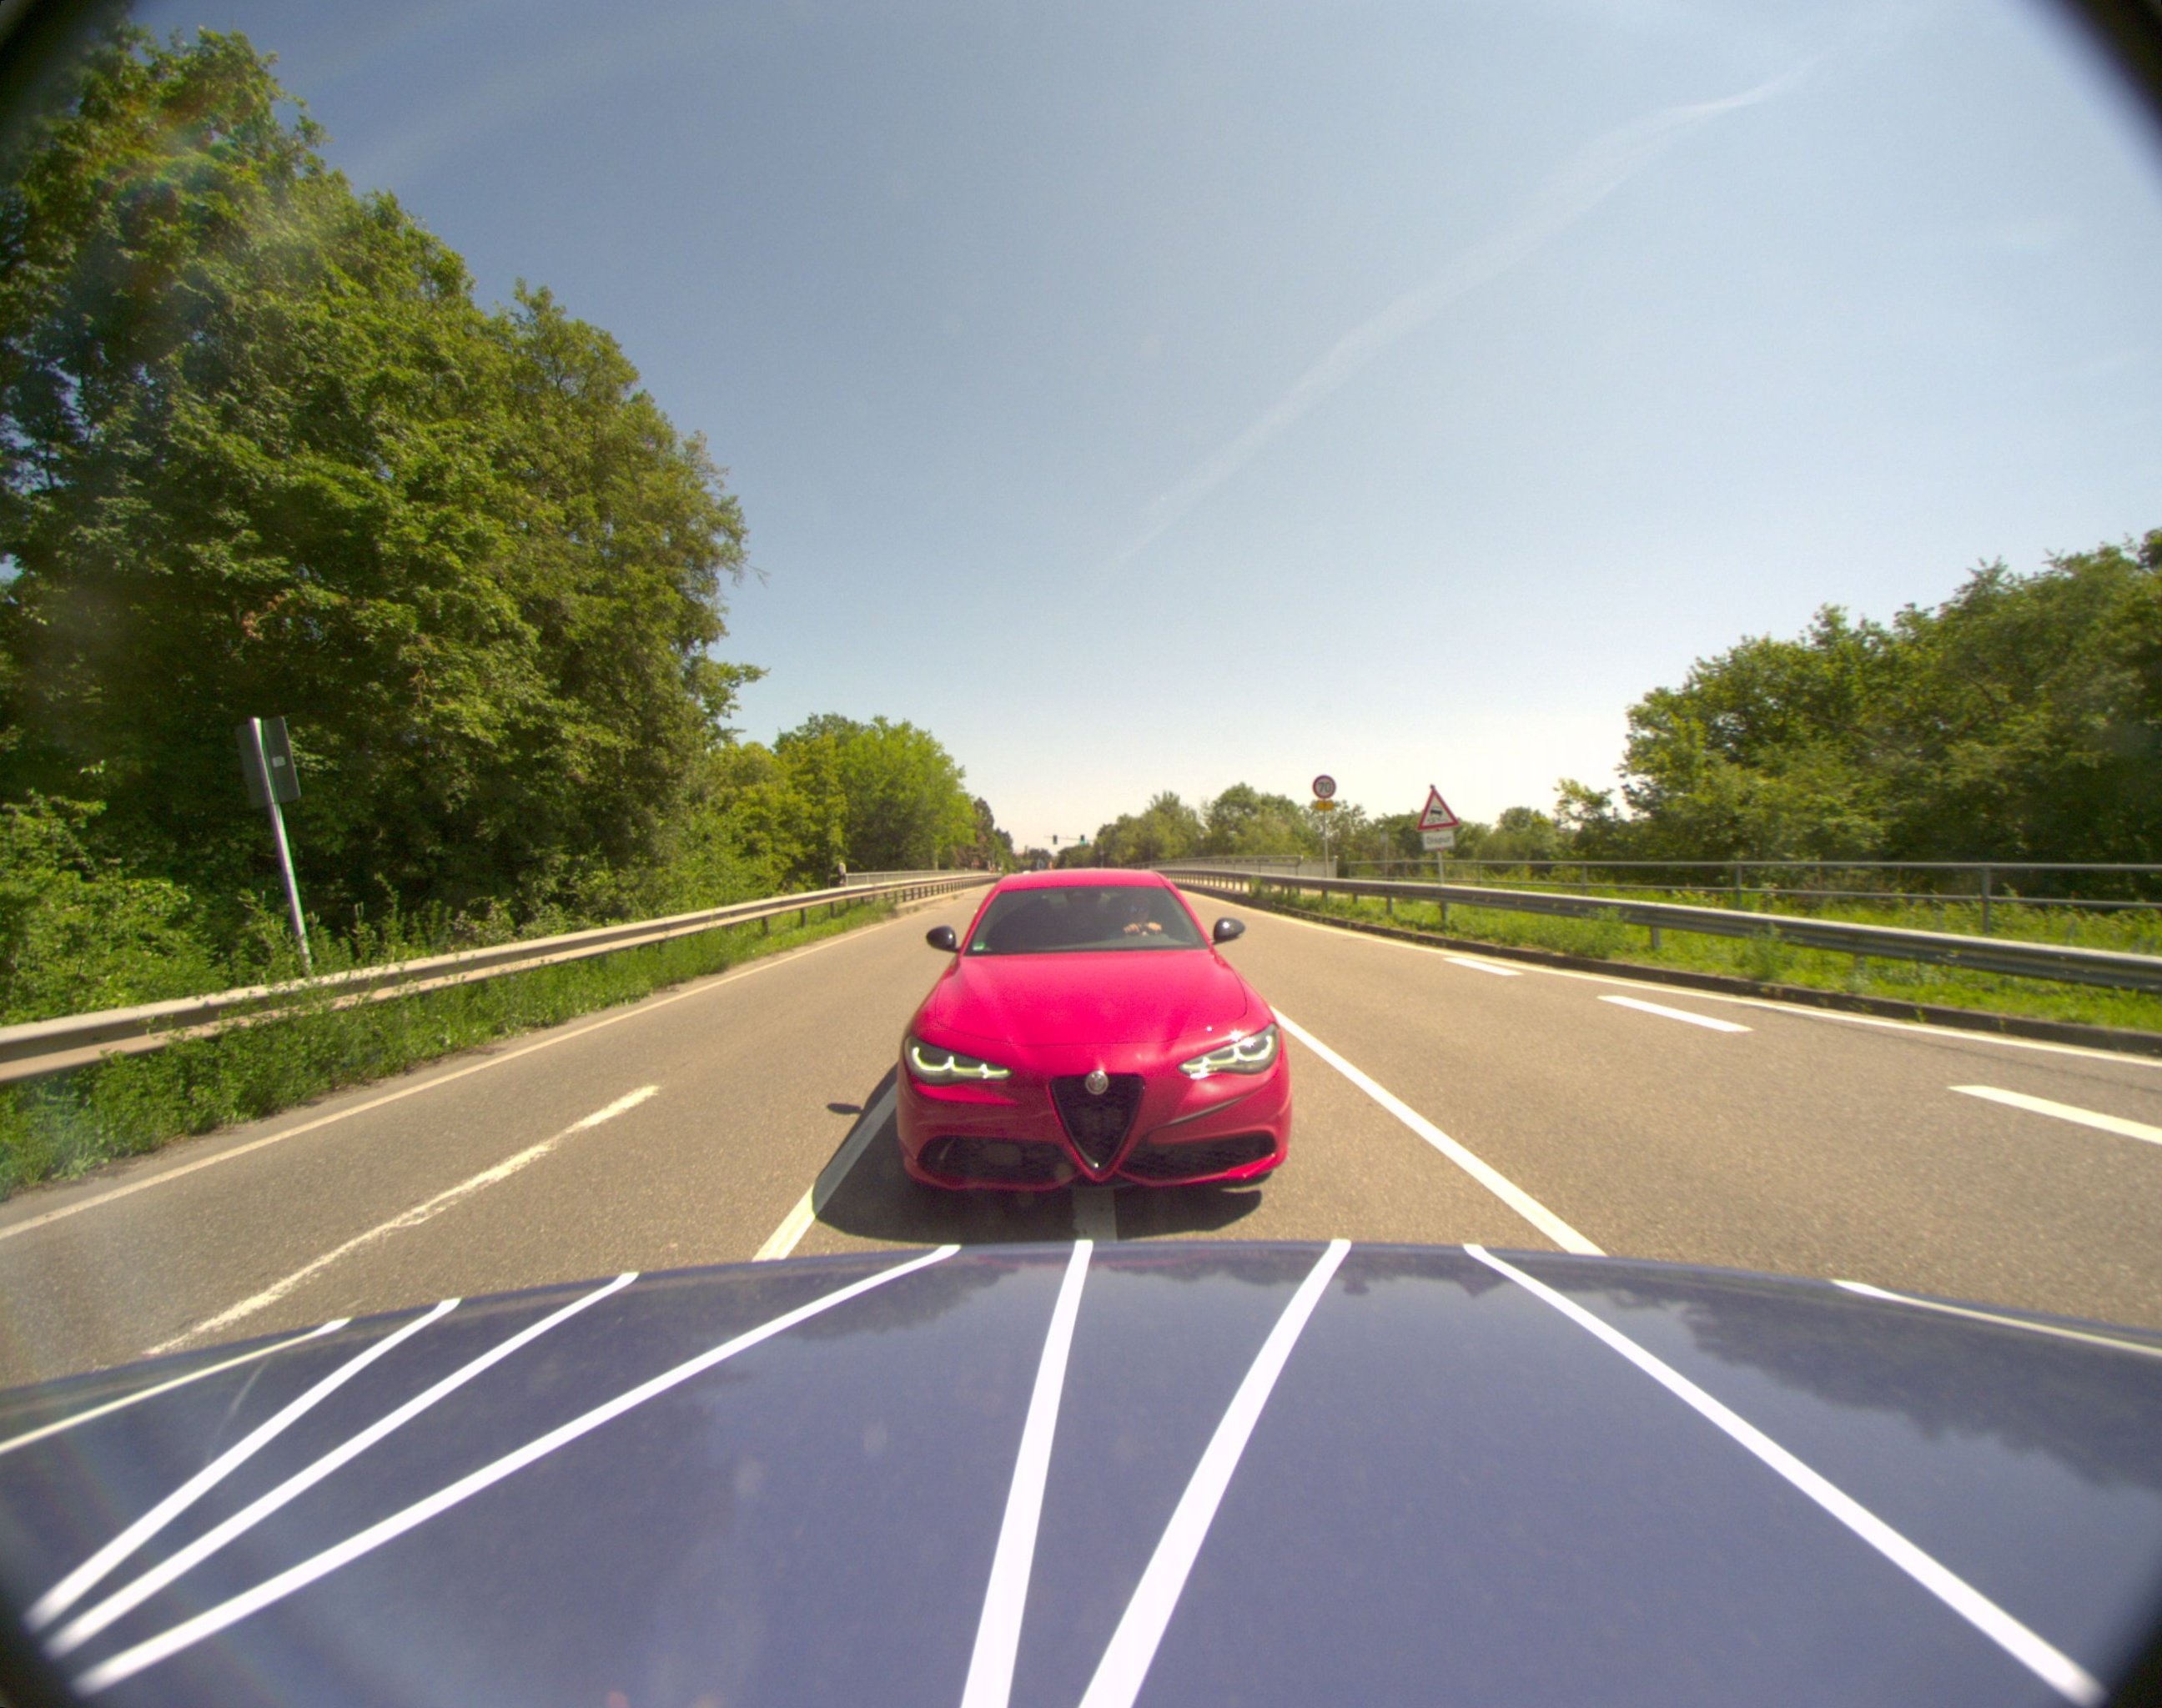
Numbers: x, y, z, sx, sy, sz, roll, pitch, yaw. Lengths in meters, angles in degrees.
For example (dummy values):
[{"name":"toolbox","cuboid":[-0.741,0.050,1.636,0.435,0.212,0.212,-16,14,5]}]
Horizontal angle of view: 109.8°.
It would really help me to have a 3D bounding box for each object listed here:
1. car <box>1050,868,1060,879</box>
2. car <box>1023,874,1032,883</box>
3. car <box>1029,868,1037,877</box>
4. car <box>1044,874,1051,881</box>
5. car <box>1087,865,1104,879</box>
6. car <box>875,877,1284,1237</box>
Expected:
[{"name":"car","cuboid":[-5.807,4.327,171.241,1.996,2.354,5.180,-2,0,-3]},{"name":"car","cuboid":[-9.313,4.319,133.032,1.416,1.499,3.315,-1,0,-3]},{"name":"car","cuboid":[-8.864,3.342,140.735,1.476,1.565,3.487,-1,0,-4]},{"name":"car","cuboid":[-9.150,6.550,209.038,1.848,1.758,3.999,-1,0,-1]},{"name":"car","cuboid":[1.479,1.849,79.127,1.649,1.410,3.765,-2,0,-1]},{"name":"car","cuboid":[-0.047,0.968,5.534,1.801,1.448,4.284,-1,0,-1]}]
